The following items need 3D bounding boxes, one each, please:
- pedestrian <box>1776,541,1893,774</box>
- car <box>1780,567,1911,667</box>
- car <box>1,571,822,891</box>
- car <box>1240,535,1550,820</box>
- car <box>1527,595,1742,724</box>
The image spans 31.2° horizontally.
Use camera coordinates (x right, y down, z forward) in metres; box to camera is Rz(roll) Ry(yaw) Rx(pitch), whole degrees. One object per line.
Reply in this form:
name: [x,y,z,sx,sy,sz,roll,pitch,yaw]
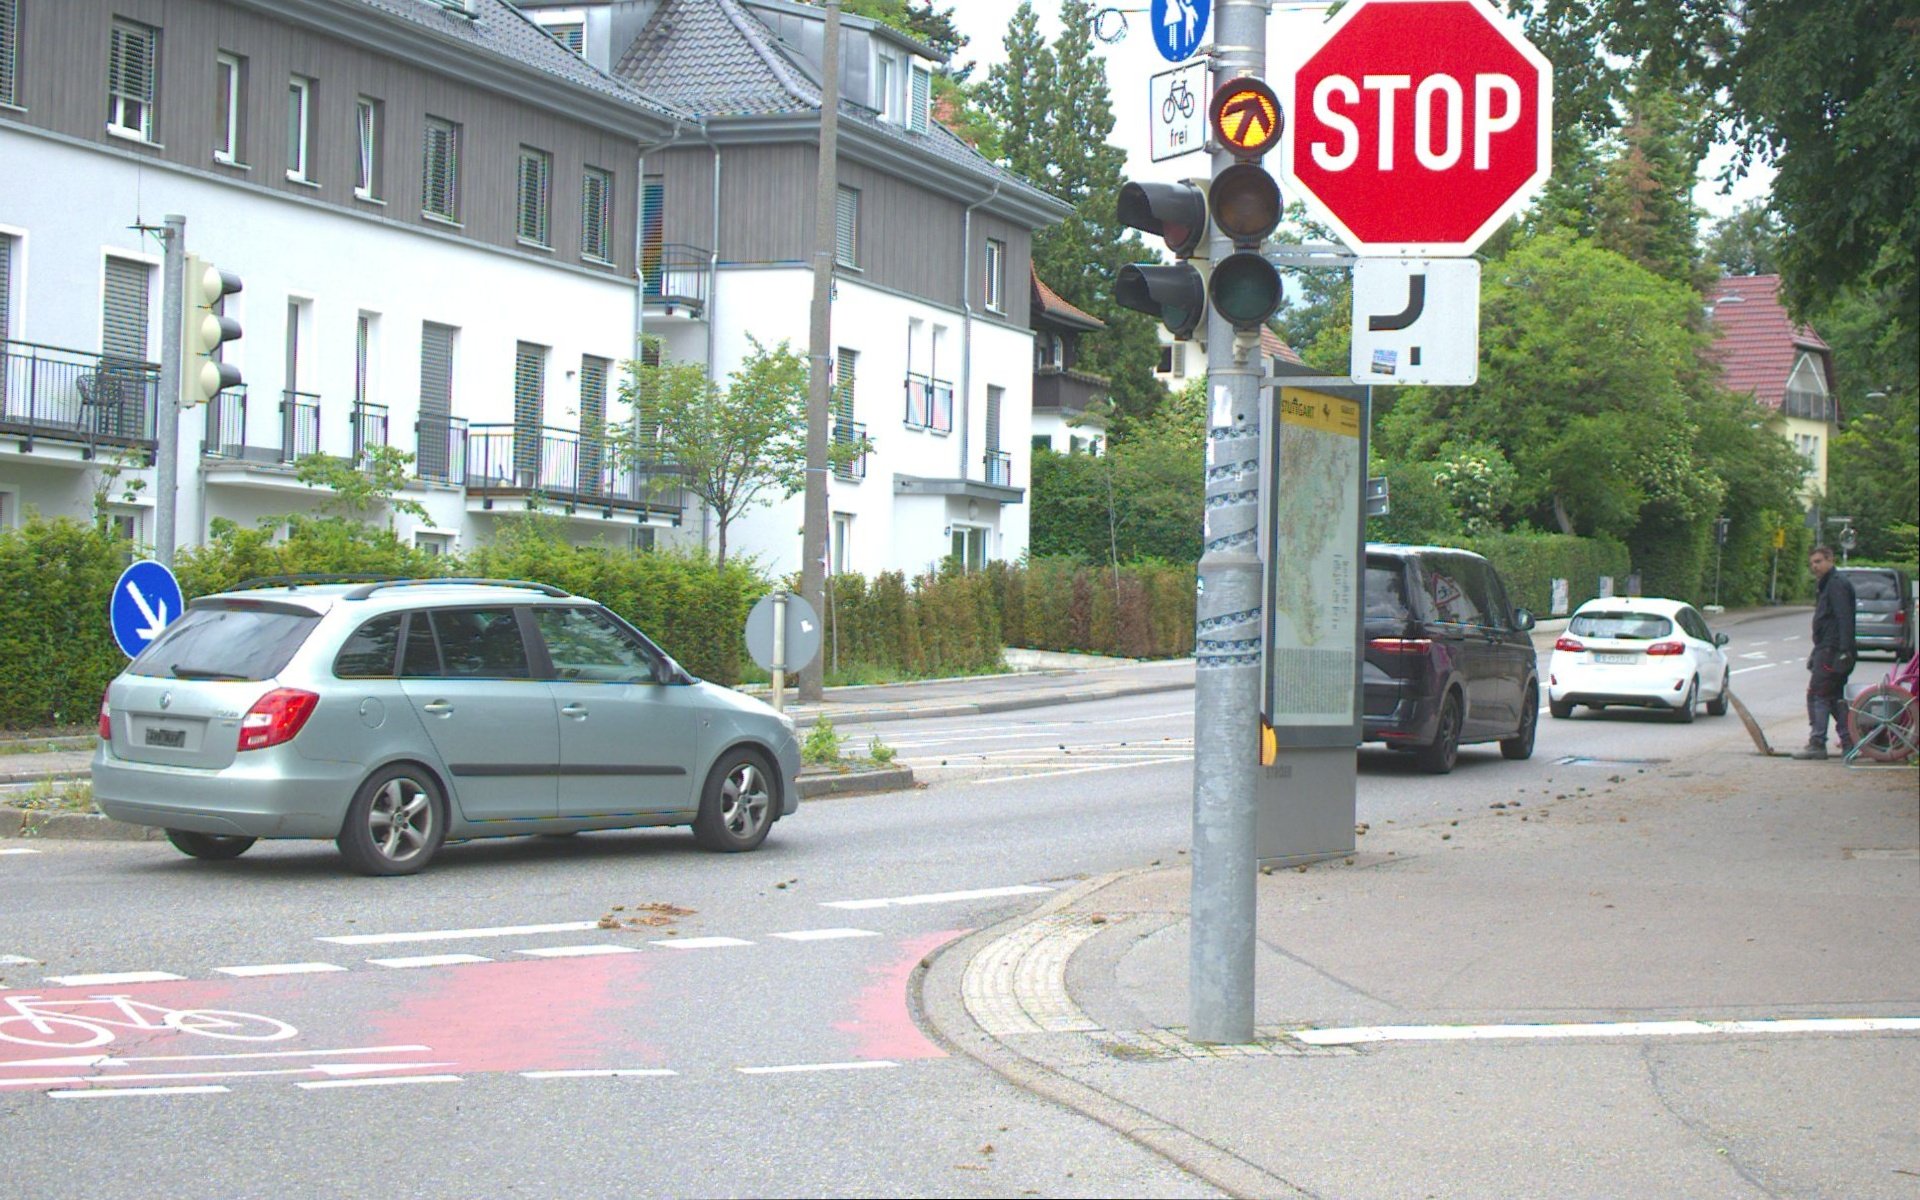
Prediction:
pedestrian: [7.630,0.491,30.018,0.838,2.007,0.589,1,1,-1]
car: [18.615,0.377,72.427,1.994,2.007,4.508,1,-1,6]
car: [-2.800,0.609,18.308,1.711,1.471,4.185,2,1,41]
car: [3.813,0.559,29.419,1.995,2.006,4.778,4,3,13]
car: [8.254,0.678,41.817,1.932,1.378,3.996,1,2,20]
